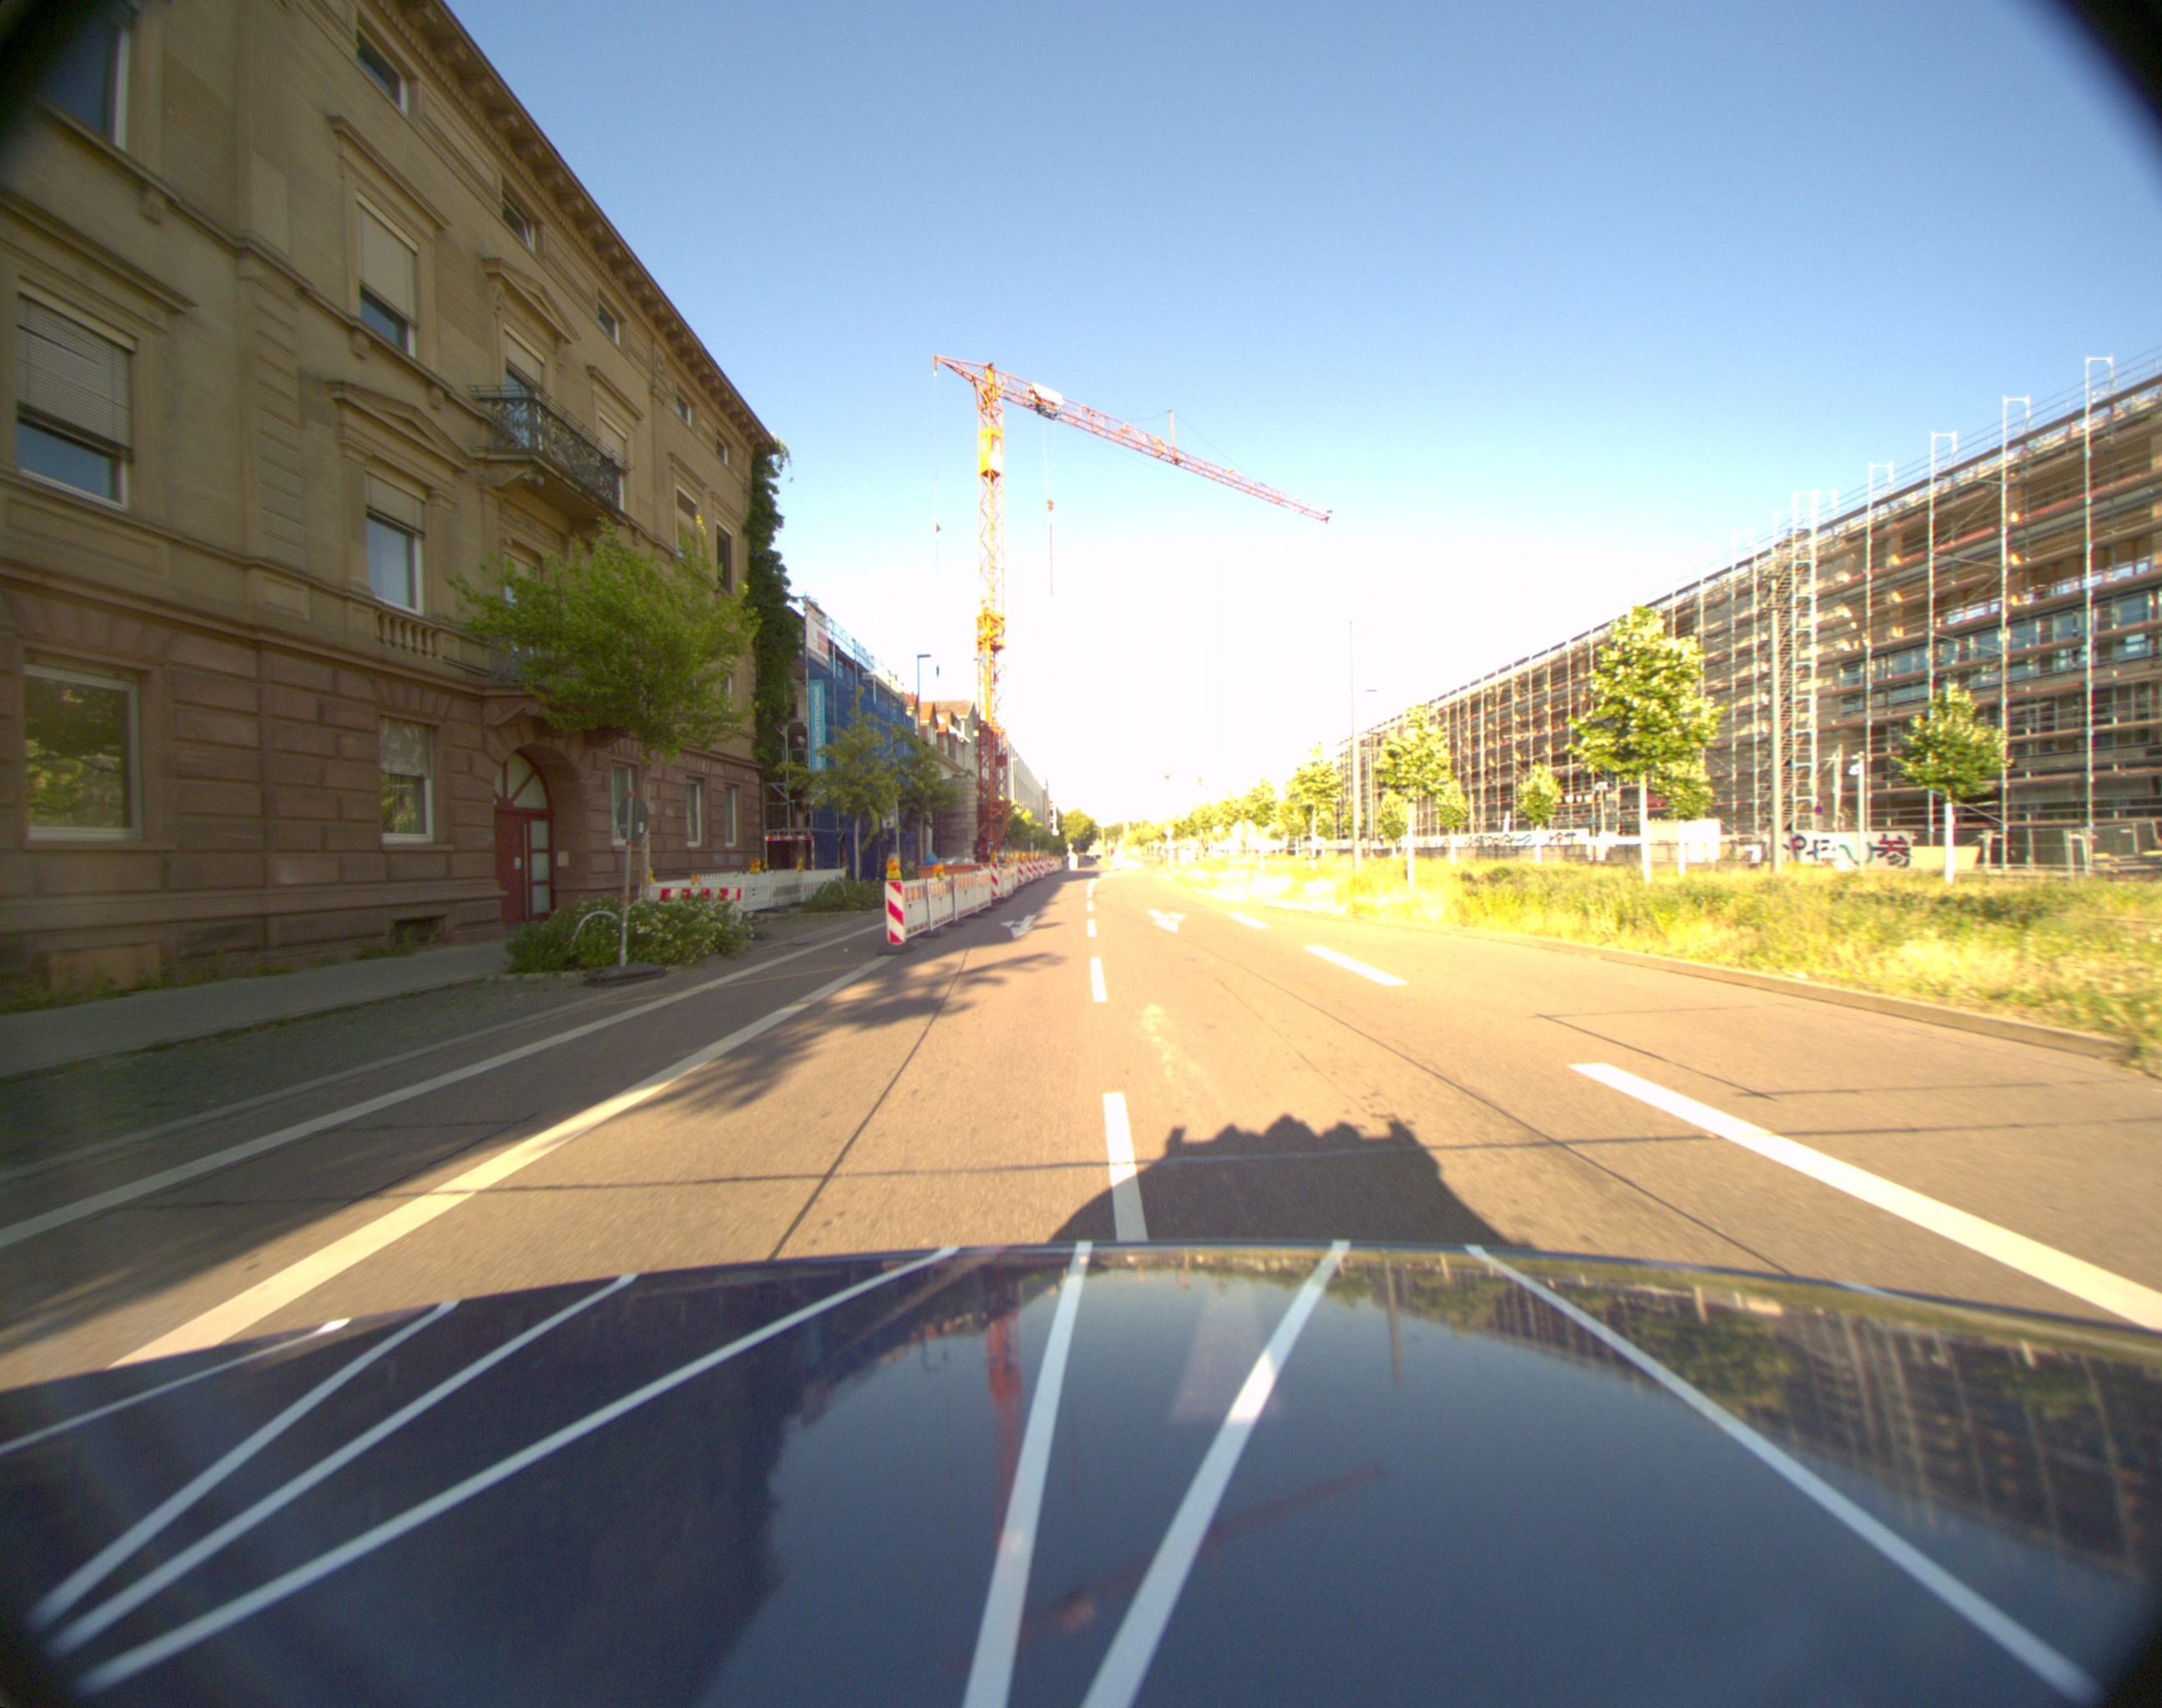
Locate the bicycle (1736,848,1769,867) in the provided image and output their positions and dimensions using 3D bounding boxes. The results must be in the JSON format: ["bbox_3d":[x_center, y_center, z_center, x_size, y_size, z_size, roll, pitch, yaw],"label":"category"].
[{"bbox_3d":[37.770,0.184,42.750,0.480,1.055,1.564,-1,0,1],"label":"bicycle"}]

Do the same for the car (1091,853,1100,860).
[{"bbox_3d":[3.790,0.672,201.206,1.998,1.696,4.001,-1,1,4],"label":"car"}]

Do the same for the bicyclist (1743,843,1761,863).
[{"bbox_3d":[37.760,-0.050,42.765,0.480,1.147,0.638,-1,1,1],"label":"bicyclist"}]

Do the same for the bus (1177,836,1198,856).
[{"bbox_3d":[17.799,-1.336,127.432,2.723,3.203,8.657,-1,0,3],"label":"bus"}]

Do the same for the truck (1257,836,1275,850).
[{"bbox_3d":[33.933,-1.963,139.490,2.143,2.559,4.740,-1,0,3],"label":"truck"}]
